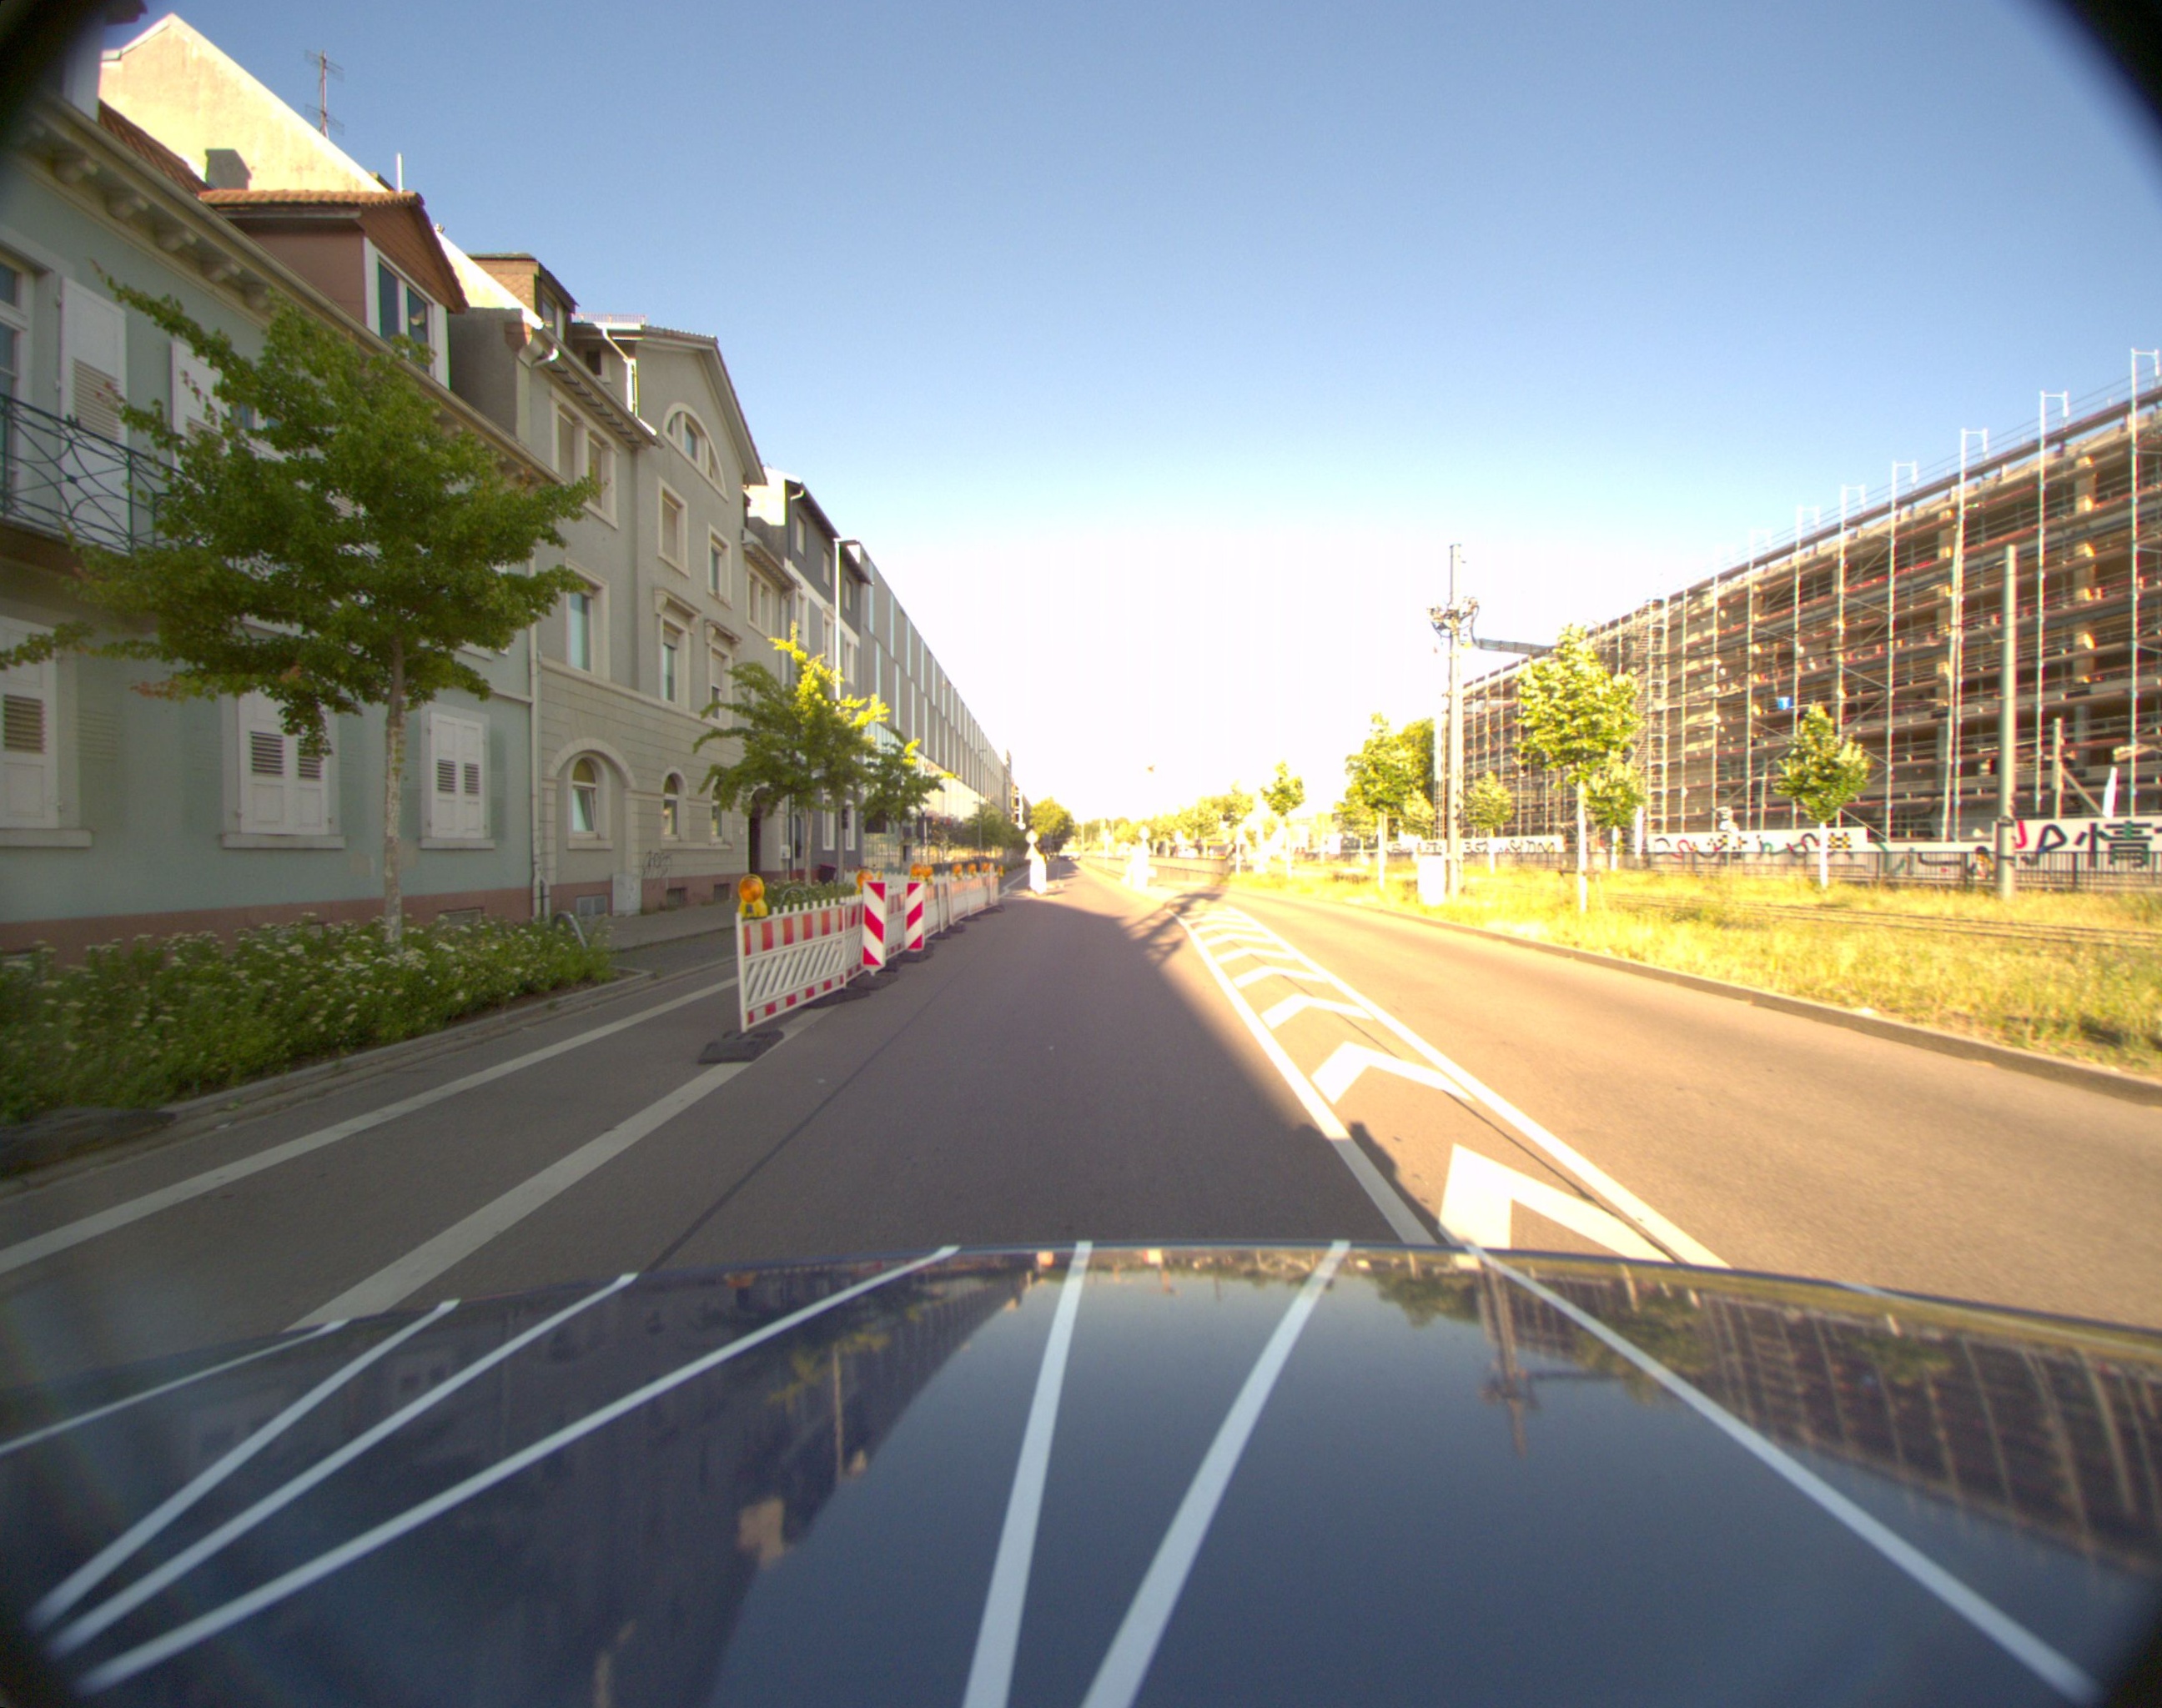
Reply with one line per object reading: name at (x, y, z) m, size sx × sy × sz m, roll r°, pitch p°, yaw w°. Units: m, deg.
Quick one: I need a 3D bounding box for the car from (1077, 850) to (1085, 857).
car at (-0.021, -0.091, 221.135) m, size 1.941 × 2.002 × 3.826 m, roll 0°, pitch 0°, yaw -2°

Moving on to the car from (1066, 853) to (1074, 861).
car at (-2.769, 0.860, 195.581) m, size 1.941 × 2.002 × 3.826 m, roll 0°, pitch 0°, yaw -2°

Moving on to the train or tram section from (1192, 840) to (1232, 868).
train or tram section at (17.477, -0.045, 102.423) m, size 2.954 × 3.378 × 12.630 m, roll -2°, pitch 1°, yaw -1°

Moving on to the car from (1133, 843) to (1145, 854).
car at (10.260, -0.968, 134.355) m, size 1.998 × 1.740 × 4.000 m, roll -1°, pitch 1°, yaw 1°
